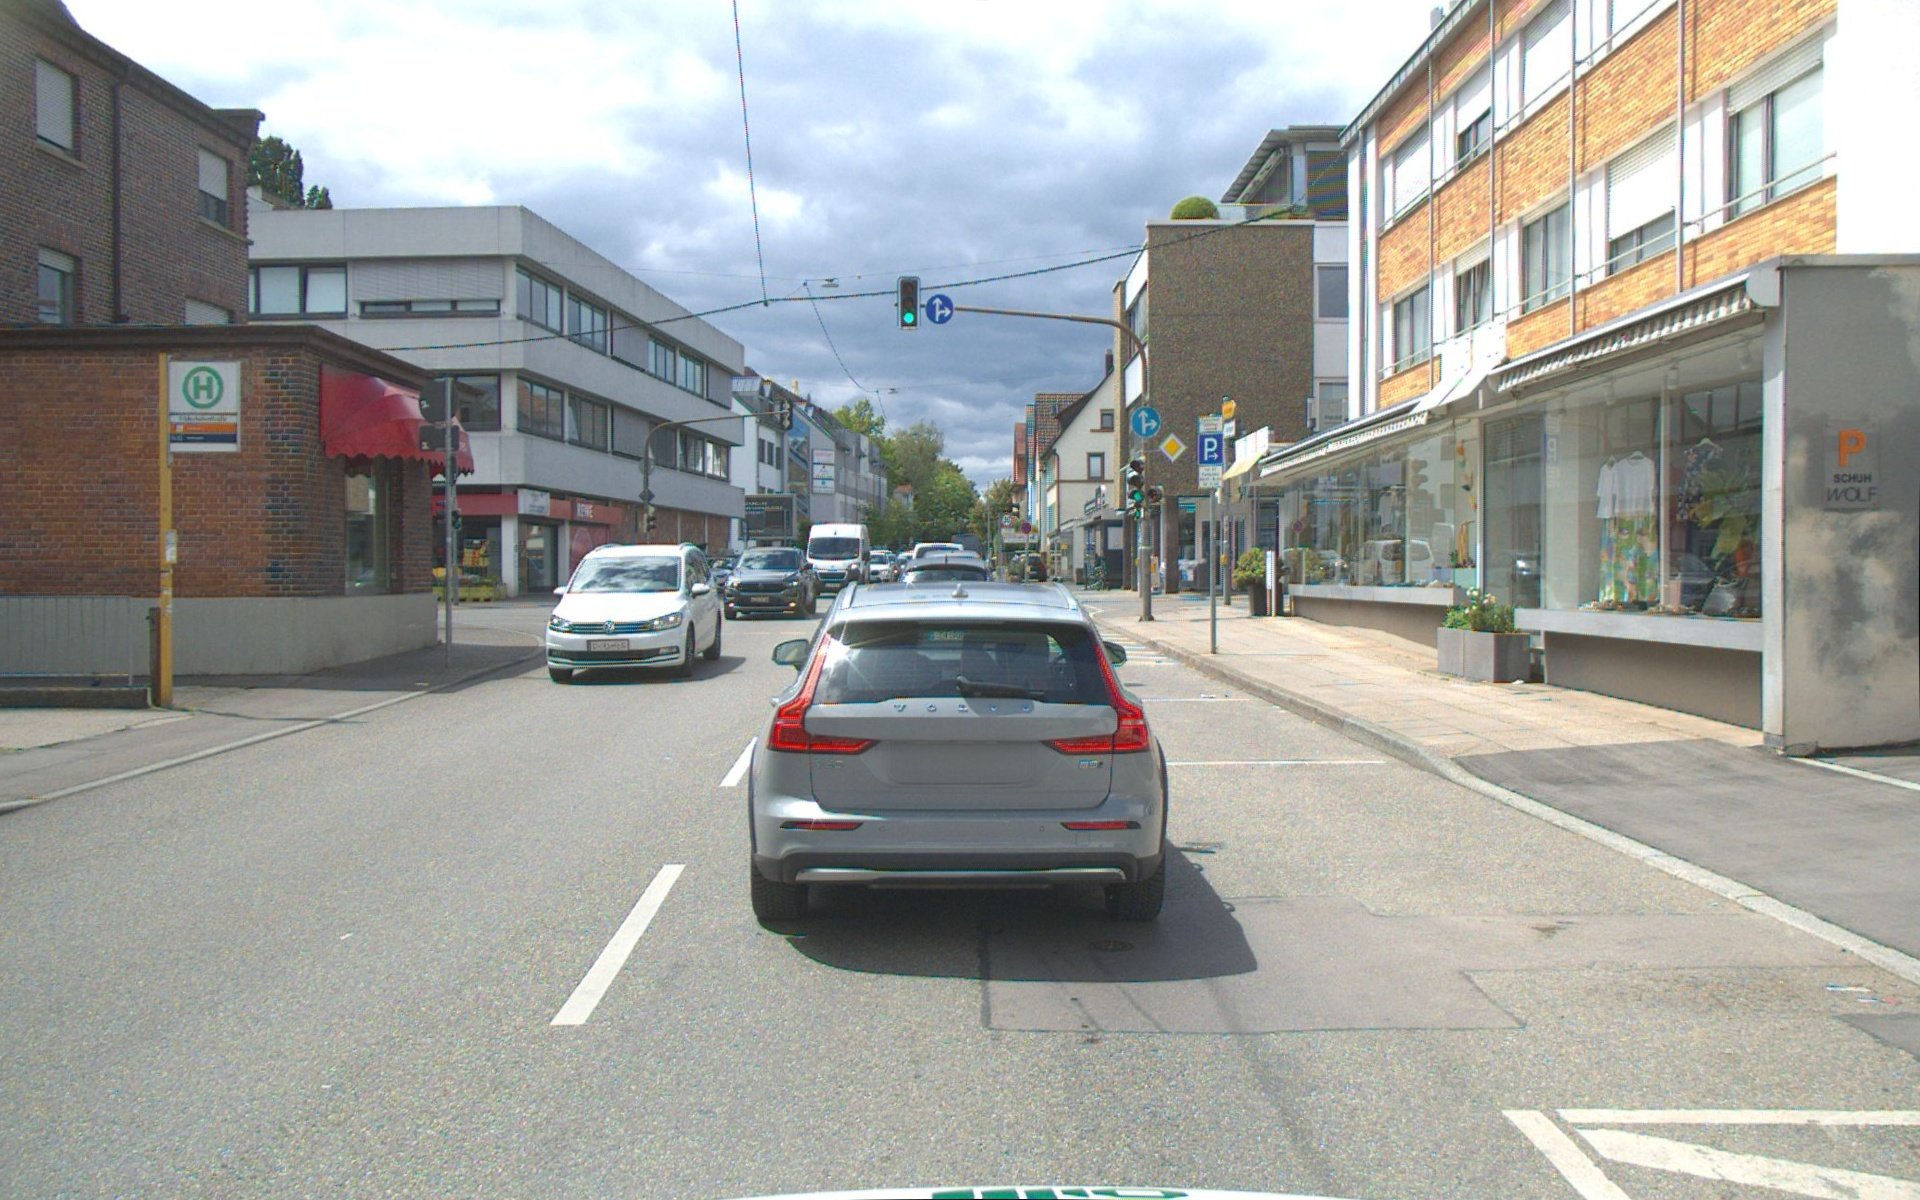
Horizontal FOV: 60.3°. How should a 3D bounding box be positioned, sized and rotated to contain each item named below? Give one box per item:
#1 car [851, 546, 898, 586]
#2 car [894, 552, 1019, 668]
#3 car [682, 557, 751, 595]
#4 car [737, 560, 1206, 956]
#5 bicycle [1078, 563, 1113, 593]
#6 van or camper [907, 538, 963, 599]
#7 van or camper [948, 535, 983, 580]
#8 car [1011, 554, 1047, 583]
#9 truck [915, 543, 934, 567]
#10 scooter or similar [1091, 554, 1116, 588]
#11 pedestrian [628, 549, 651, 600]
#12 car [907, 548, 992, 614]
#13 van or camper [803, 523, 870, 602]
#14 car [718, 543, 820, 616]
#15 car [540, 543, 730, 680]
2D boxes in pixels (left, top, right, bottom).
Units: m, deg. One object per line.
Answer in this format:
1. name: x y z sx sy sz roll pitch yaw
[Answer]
1. car: -3.752 -1.508 73.319 1.744 1.668 4.221 -2 2 1
2. car: -0.067 0.102 23.405 1.617 1.508 3.607 0 1 -1
3. car: -9.974 -1.030 68.030 1.864 1.468 4.446 1 2 4
4. car: 0.019 0.591 8.342 1.798 1.512 3.999 0 0 -1
5. bicycle: 5.463 -0.893 66.689 0.546 1.164 2.289 -1 1 -18
6. van or camper: -0.827 -0.997 54.429 1.782 1.867 3.999 0 -1 -1
7. van or camper: 0.380 -2.671 103.199 2.079 2.733 4.782 -1 1 0
8. car: 3.788 -1.714 91.684 1.676 1.489 3.998 0 0 -2
9. truck: -4.516 -5.708 211.068 2.229 2.936 7.080 -1 1 1
10. scooter or similar: 5.506 -1.105 63.539 0.336 1.275 1.235 -3 1 -26
11. pedestrian: -10.708 -0.855 55.282 0.606 1.670 0.660 -1 1 1
12. car: -0.229 -0.398 36.545 1.770 1.370 3.717 0 0 -1
13. van or camper: -4.262 -1.364 57.902 2.105 2.600 5.437 -1 2 -2
14. car: -4.208 -0.431 36.976 1.754 1.537 3.845 0 0 1
15. car: -4.217 0.065 22.061 1.739 1.640 4.120 0 2 -1
